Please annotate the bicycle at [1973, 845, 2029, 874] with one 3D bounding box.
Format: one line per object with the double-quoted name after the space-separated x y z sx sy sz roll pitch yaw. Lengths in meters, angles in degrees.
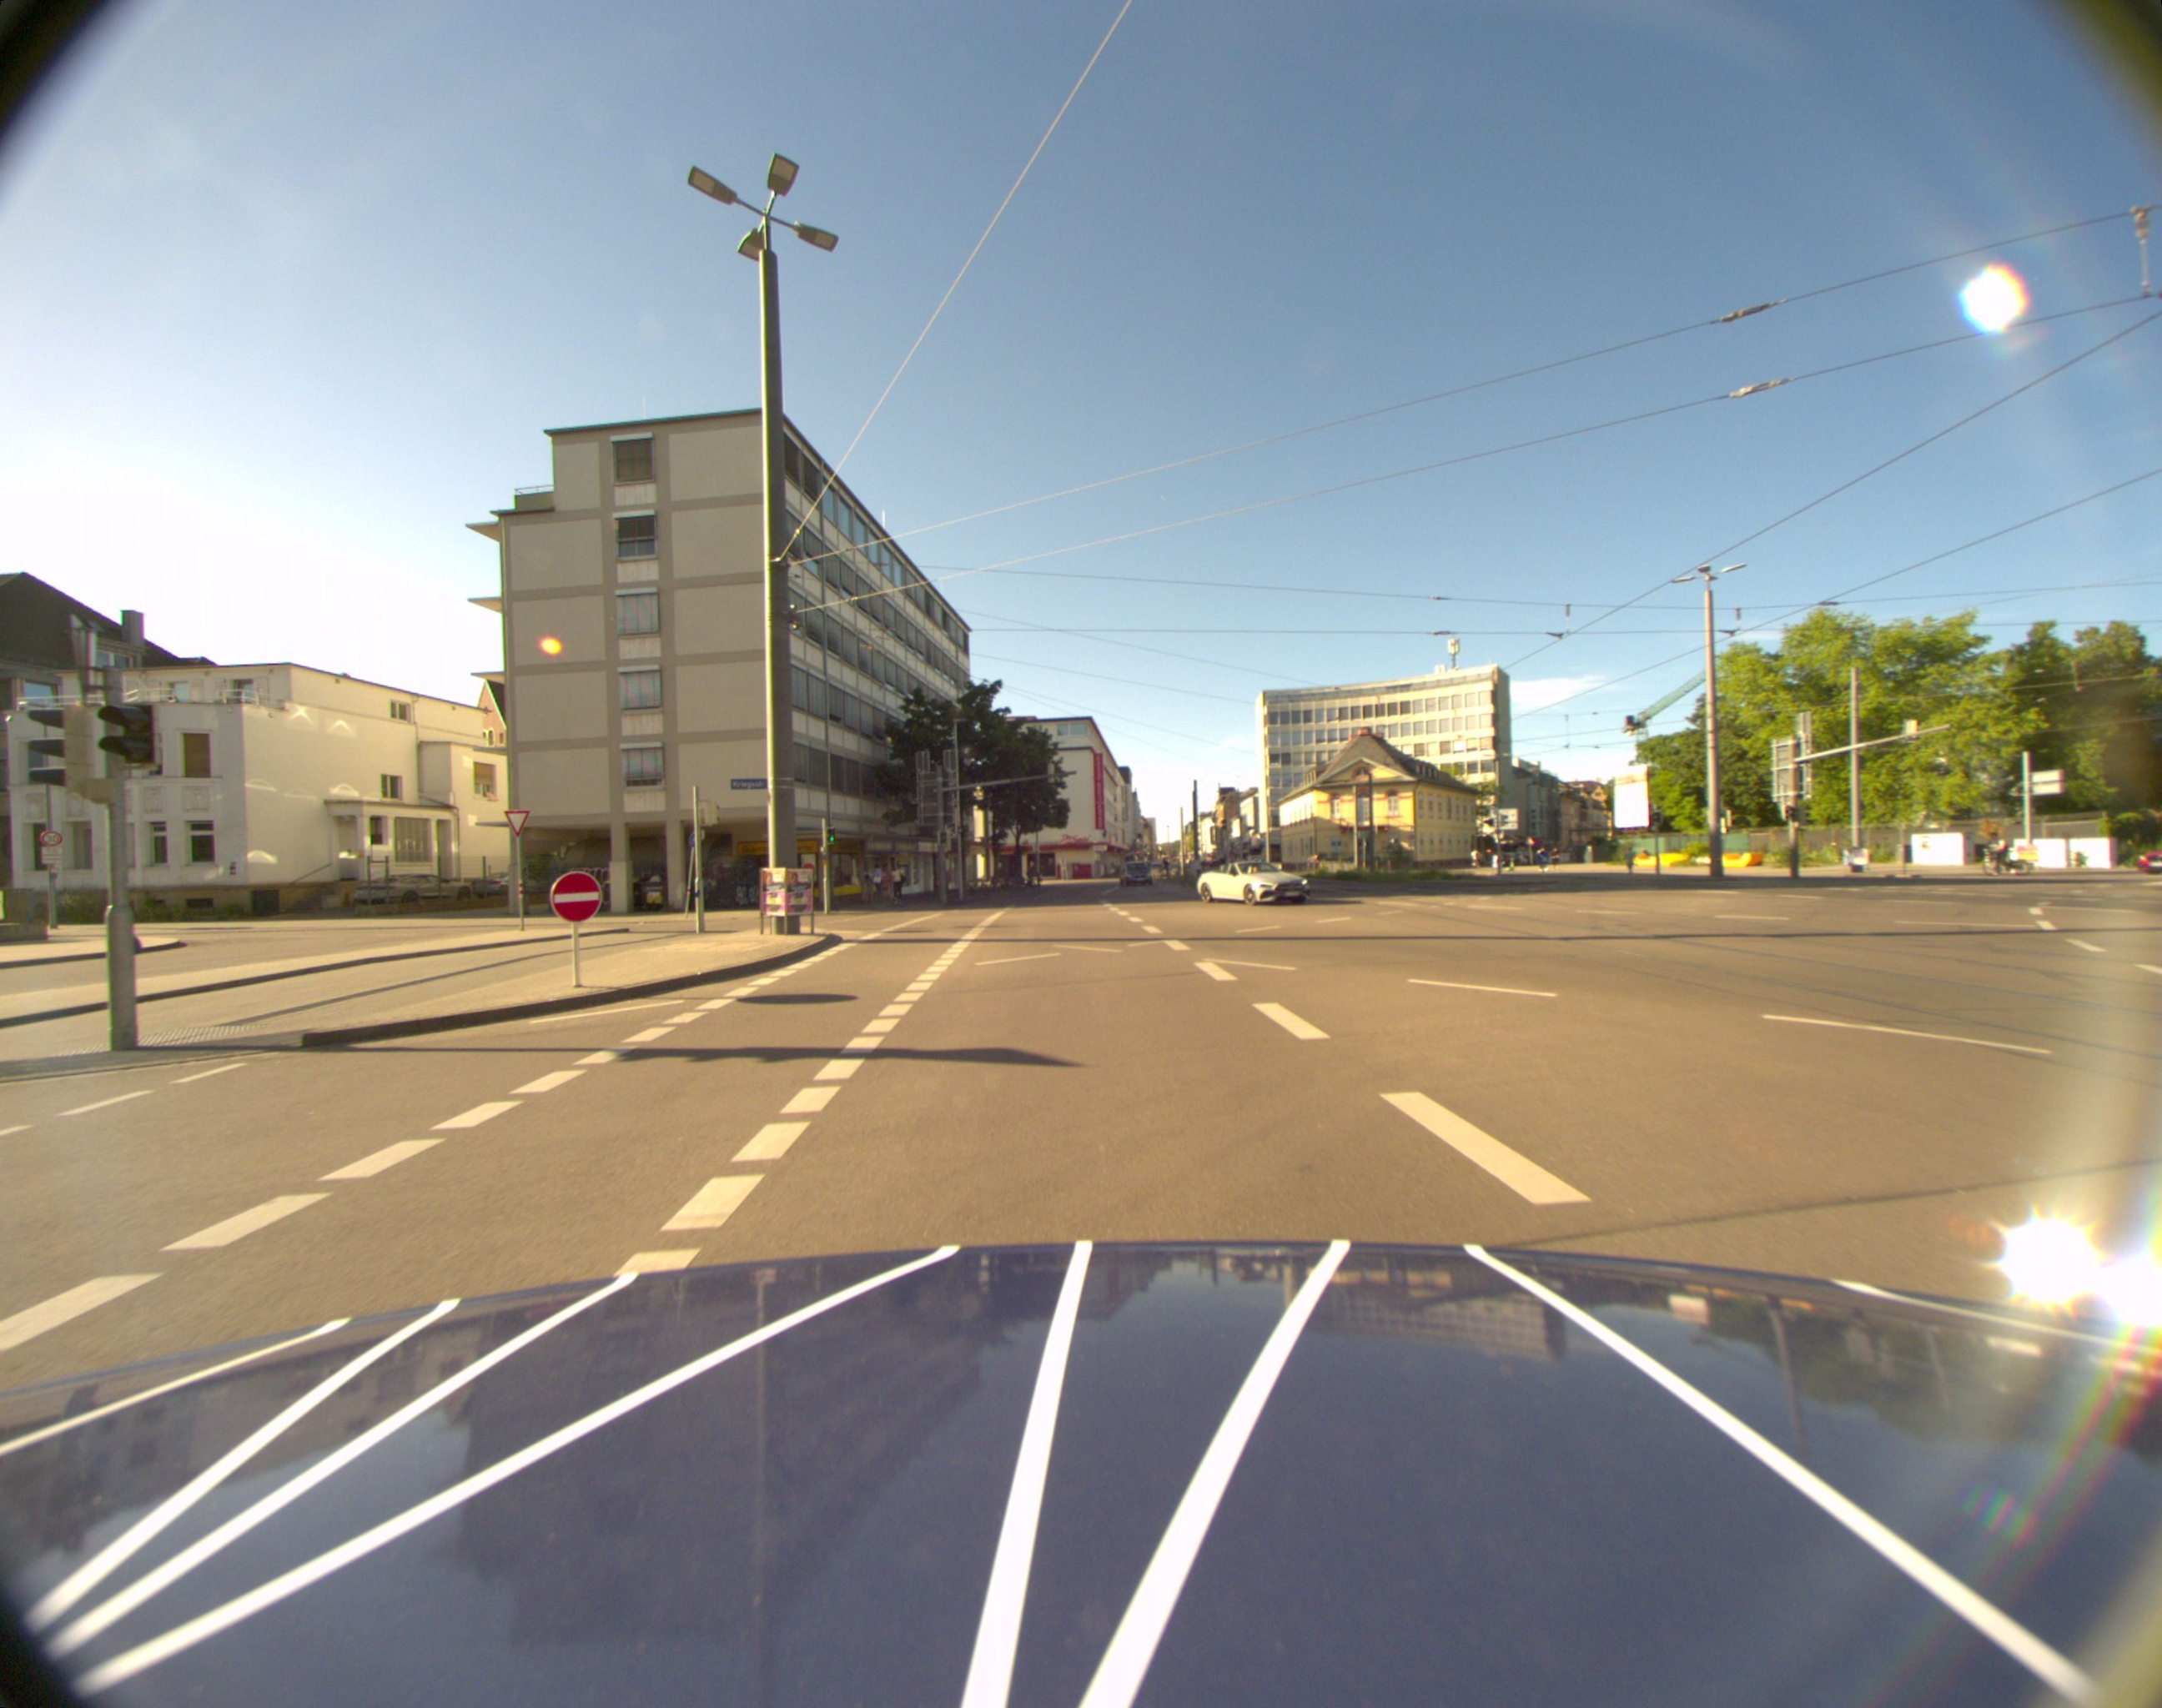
38.138 0.230 31.501 1.499 1.127 0.612 -2 0 3 "bicycle"

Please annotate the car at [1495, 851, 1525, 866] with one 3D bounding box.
41.850 0.447 74.089 1.646 1.339 3.767 -2 0 42 "car"

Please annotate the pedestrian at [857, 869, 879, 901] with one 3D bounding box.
-9.532 1.385 34.020 0.646 1.414 0.621 -2 0 10 "pedestrian"

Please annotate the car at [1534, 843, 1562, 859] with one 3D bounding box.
52.621 -0.320 85.620 3.763 1.660 1.797 -2 0 -43 "car"

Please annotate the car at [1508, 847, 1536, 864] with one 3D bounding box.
45.509 0.151 78.365 1.888 1.660 3.871 -2 0 40 "car"

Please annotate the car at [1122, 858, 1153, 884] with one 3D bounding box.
3.803 1.110 51.252 1.737 1.653 3.960 -1 0 -1 "car"

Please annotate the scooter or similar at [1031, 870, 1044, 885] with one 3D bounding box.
-3.198 1.725 56.131 0.958 1.033 0.160 -2 0 11 "scooter or similar"

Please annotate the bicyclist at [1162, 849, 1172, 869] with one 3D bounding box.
6.705 0.405 59.254 0.683 1.514 0.634 -2 0 0 "bicyclist"

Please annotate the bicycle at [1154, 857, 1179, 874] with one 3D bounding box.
6.679 0.890 59.256 1.825 1.205 0.641 -2 0 0 "bicycle"

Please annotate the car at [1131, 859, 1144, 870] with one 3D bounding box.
8.557 1.606 115.074 1.782 1.653 4.165 -1 0 6 "car"

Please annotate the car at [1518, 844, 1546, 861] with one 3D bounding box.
48.900 -0.171 82.330 1.797 1.660 3.763 -2 0 44 "car"

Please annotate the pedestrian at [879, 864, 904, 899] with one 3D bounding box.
-9.187 1.326 36.795 0.844 1.593 0.880 -2 0 8 "pedestrian"

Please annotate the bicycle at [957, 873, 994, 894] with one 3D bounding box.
-5.678 1.577 40.789 1.893 1.150 0.481 0 1 9 "bicycle"

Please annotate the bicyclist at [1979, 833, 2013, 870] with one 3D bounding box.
37.933 -0.107 31.503 0.616 1.484 0.610 -2 0 2 "bicyclist"

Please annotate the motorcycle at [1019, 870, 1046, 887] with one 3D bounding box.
-3.466 1.753 53.807 1.790 1.123 0.504 -2 0 9 "motorcycle"

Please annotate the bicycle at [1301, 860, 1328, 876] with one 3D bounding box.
19.605 1.189 63.845 2.022 1.283 0.576 -2 0 25 "bicycle"

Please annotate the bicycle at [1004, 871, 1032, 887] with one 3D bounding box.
-4.307 1.719 51.812 1.855 1.050 0.399 -1 0 -2 "bicycle"

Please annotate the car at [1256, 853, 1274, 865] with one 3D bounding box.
23.947 0.634 98.944 1.780 1.430 3.963 -4 0 7 "car"

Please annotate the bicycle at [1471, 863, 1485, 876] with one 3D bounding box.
35.818 1.401 68.593 0.650 1.007 1.889 -2 0 41 "bicycle"

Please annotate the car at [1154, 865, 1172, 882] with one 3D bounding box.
8.566 2.020 79.156 1.782 1.653 3.963 -1 0 7 "car"

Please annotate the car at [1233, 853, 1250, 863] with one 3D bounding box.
26.145 0.678 123.827 1.930 1.444 4.294 -4 0 3 "car"

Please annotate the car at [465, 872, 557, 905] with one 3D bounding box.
-31.045 1.849 41.547 1.785 1.551 4.025 -2 0 2 "car"

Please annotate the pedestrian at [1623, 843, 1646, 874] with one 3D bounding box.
30.332 0.244 41.629 0.626 1.678 0.706 -2 -2 -4 "pedestrian"

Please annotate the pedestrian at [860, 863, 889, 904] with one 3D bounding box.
-8.958 1.252 32.978 0.879 1.711 0.846 -2 0 4 "pedestrian"

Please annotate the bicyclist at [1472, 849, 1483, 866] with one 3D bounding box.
35.753 0.334 68.564 0.664 1.445 0.732 -2 1 40 "bicyclist"

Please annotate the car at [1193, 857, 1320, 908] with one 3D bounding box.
5.557 0.862 24.739 1.871 1.430 4.768 -2 0 -17 "car"

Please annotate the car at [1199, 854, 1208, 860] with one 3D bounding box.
29.908 0.691 185.200 1.780 1.500 4.671 -1 0 4 "car"

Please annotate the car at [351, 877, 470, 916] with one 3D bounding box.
-31.163 1.916 35.475 1.800 1.549 4.027 -2 0 3 "car"

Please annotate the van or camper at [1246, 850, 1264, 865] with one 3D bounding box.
25.295 0.452 110.471 1.958 1.961 4.799 -4 0 6 "van or camper"

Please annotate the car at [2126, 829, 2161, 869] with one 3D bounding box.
42.263 -0.210 28.217 4.562 1.500 1.782 -1 0 -1 "car"

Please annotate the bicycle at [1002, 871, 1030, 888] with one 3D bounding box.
-4.257 1.677 49.857 1.770 1.051 0.458 -2 0 14 "bicycle"

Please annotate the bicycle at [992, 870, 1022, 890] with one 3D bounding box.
-4.662 1.635 47.854 1.813 1.145 0.435 -1 1 4 "bicycle"

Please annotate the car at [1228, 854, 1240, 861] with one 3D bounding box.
29.549 0.688 146.987 1.785 1.408 3.599 -2 0 5 "car"

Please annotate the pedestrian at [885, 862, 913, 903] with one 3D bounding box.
-7.944 1.242 33.157 0.844 1.697 0.880 -2 0 8 "pedestrian"

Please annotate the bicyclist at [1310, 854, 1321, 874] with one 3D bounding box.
19.677 0.810 63.804 0.804 1.640 0.591 -1 2 25 "bicyclist"

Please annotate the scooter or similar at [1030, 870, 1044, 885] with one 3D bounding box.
-3.225 1.728 55.932 0.965 1.021 0.160 -2 0 11 "scooter or similar"

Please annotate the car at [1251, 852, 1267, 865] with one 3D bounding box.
24.476 0.588 104.756 1.780 1.611 4.178 -4 0 9 "car"

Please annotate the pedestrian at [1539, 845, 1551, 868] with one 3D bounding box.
35.896 0.196 58.749 0.595 1.806 0.705 -2 1 19 "pedestrian"

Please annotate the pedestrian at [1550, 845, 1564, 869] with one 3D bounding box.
36.671 0.216 58.559 0.706 1.840 0.741 -2 1 19 "pedestrian"

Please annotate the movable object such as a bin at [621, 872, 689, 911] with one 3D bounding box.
-17.612 1.529 31.444 1.913 1.461 1.452 -2 1 9 "movable object such as a bin"

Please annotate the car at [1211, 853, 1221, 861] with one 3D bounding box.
26.245 0.568 147.945 1.688 1.551 4.124 -2 0 6 "car"
